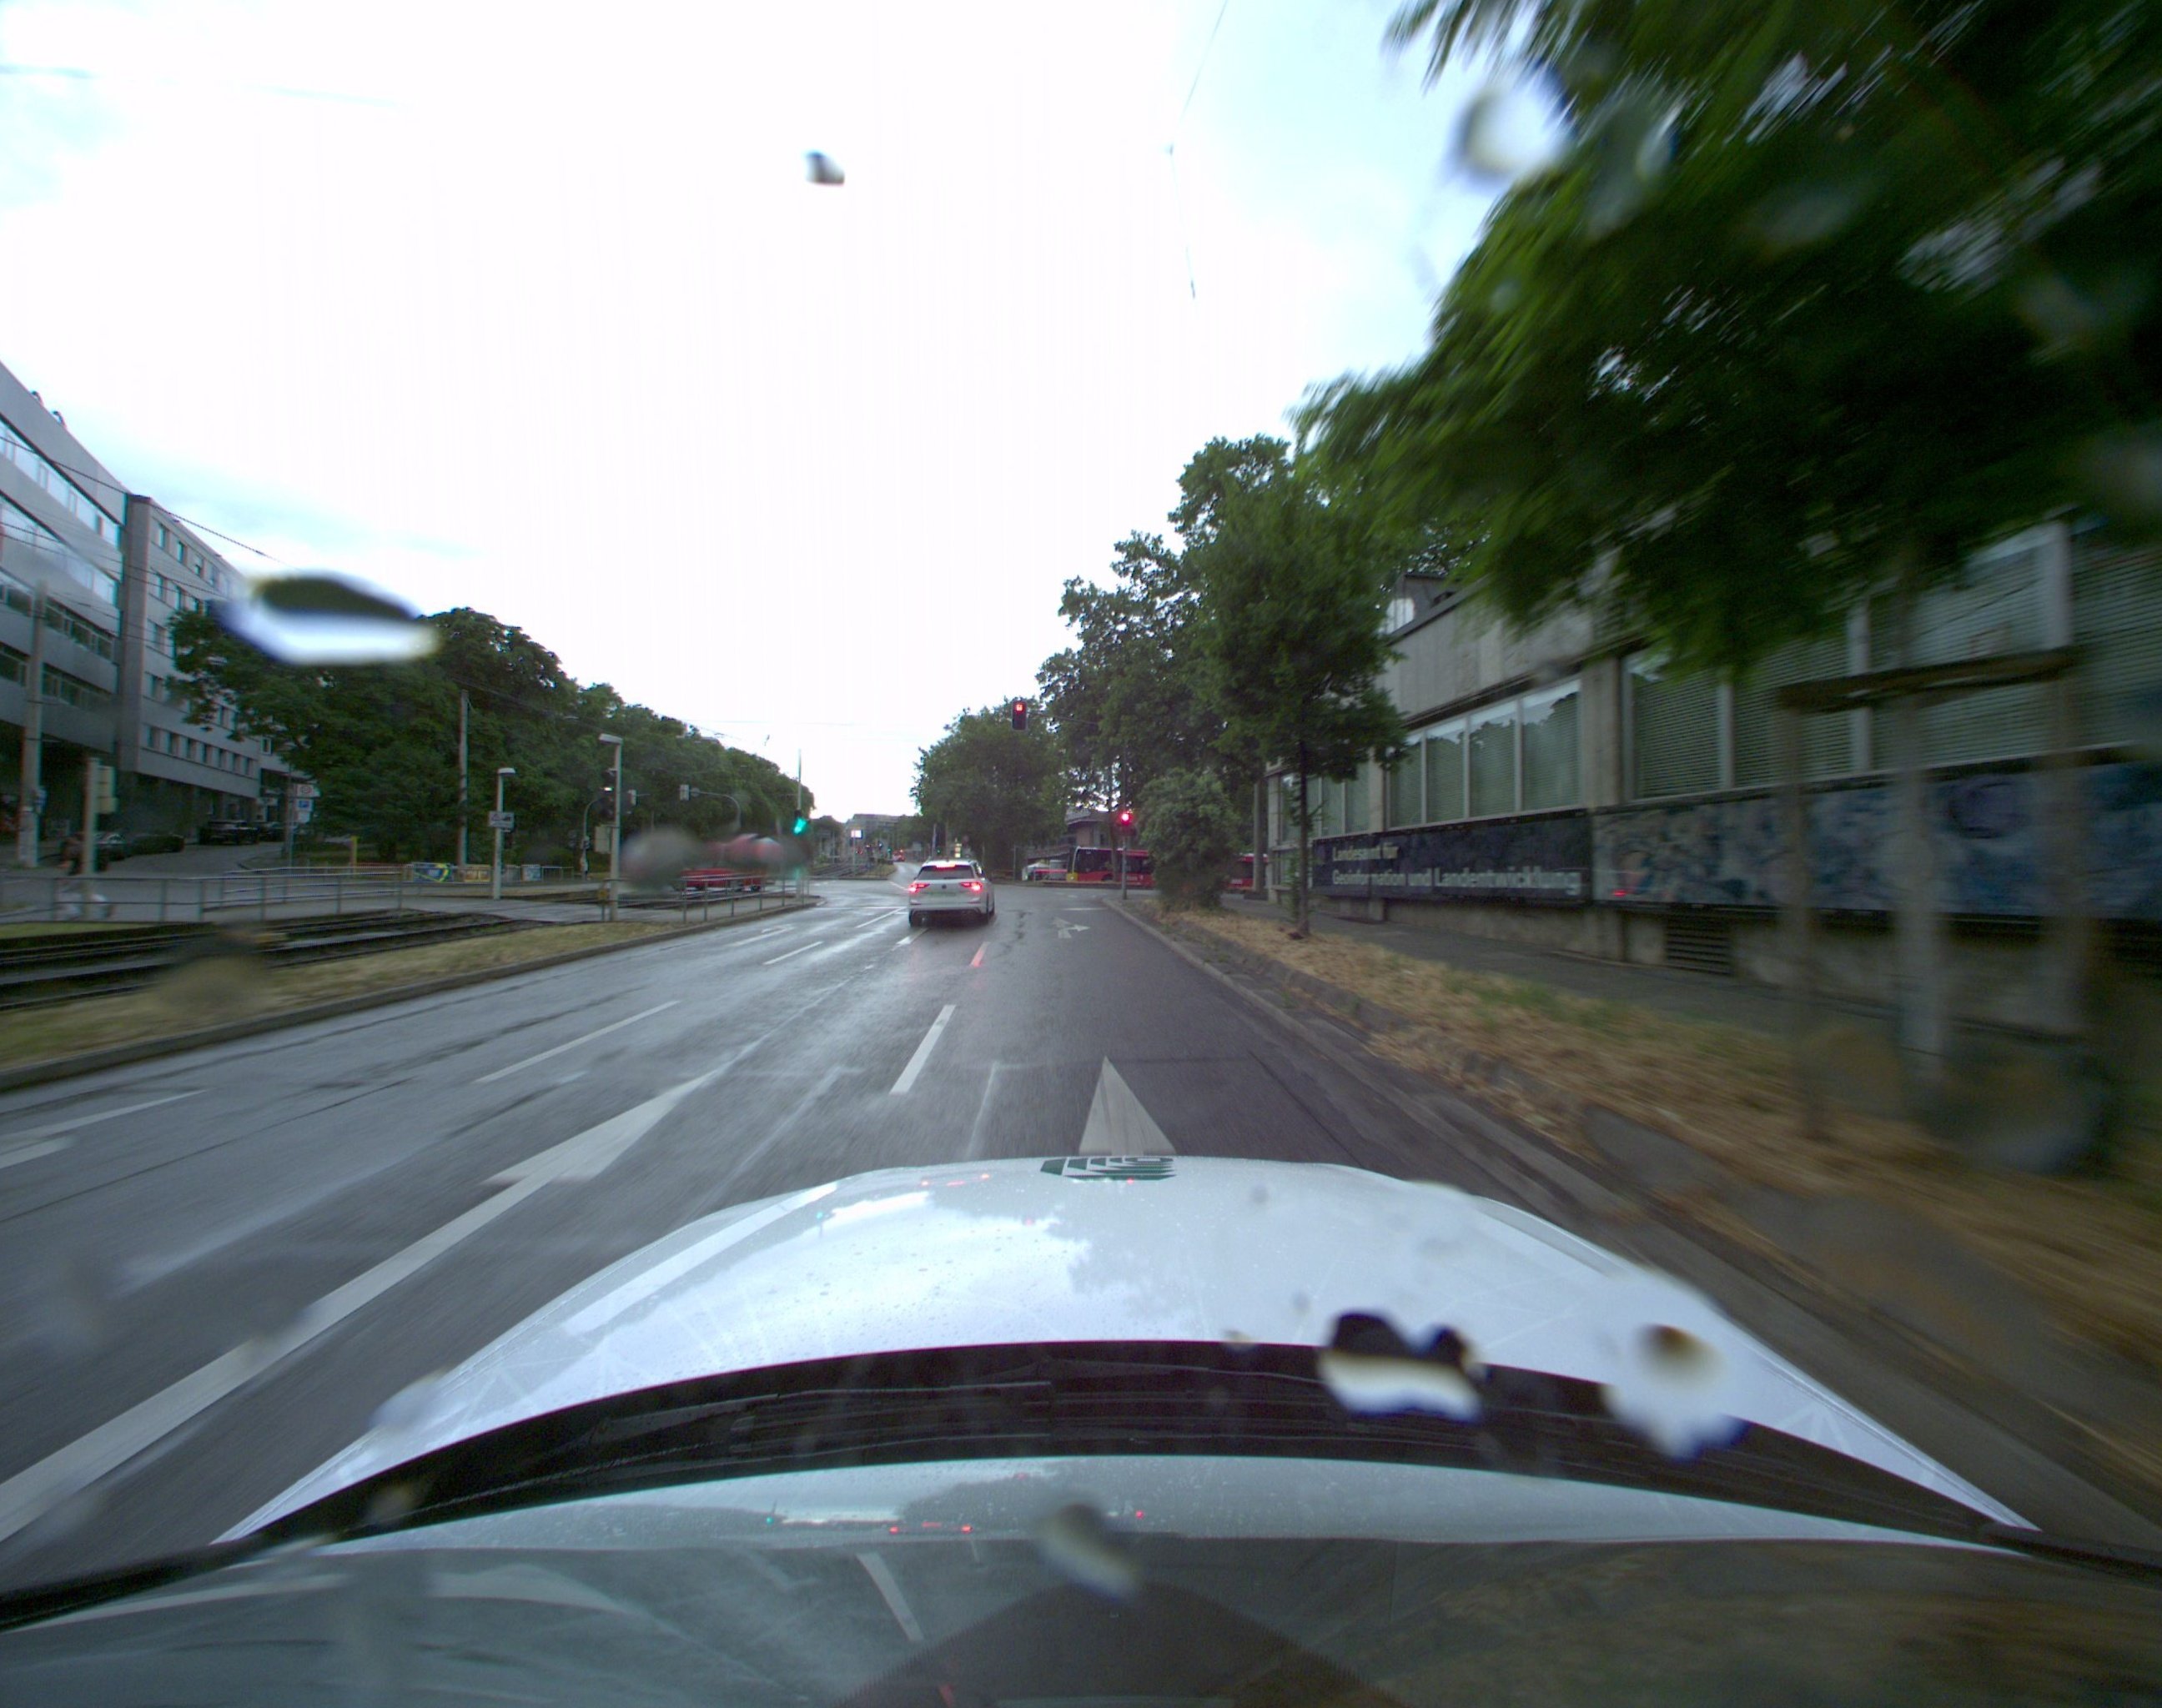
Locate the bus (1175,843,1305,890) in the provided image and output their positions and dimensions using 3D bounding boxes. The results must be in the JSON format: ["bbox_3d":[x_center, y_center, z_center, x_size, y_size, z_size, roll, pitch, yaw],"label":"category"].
[{"bbox_3d":[11.857,0.970,60.982,9.151,3.111,2.655,2,-1,-9],"label":"bus"}]

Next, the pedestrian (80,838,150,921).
[{"bbox_3d":[-21.488,0.564,18.137,0.642,1.788,0.804,3,-2,-26],"label":"pedestrian"}]

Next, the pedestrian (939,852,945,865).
[{"bbox_3d":[-20.269,0.608,118.618,0.757,1.823,0.697,3,-2,-16],"label":"pedestrian"}]

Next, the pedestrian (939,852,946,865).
[{"bbox_3d":[-20.421,0.634,120.126,0.757,1.823,0.697,3,-2,-16],"label":"pedestrian"}]

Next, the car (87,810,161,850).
[{"bbox_3d":[-50.159,-1.287,42.768,2.011,1.793,3.953,3,1,-43],"label":"car"}]

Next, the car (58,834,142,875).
[{"bbox_3d":[-46.737,0.019,38.893,2.011,1.794,3.952,3,-2,-43],"label":"car"}]

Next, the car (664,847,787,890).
[{"bbox_3d":[-15.300,0.641,35.149,4.375,1.640,1.992,2,-1,10],"label":"car"}]

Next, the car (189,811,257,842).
[{"bbox_3d":[-56.105,-1.755,53.346,2.007,1.794,4.167,3,-2,-32],"label":"car"}]

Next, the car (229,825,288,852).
[{"bbox_3d":[-60.607,-1.090,60.097,2.006,1.794,4.169,3,-2,-31],"label":"car"}]

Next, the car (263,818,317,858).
[{"bbox_3d":[-63.210,-1.209,65.129,2.006,2.998,4.169,3,-2,-31],"label":"car"}]

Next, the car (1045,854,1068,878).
[{"bbox_3d":[-3.329,1.647,109.880,2.543,3.134,5.017,2,-1,-8],"label":"car"}]

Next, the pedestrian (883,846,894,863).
[{"bbox_3d":[-19.145,0.086,80.932,0.735,1.640,0.871,2,-2,1],"label":"pedestrian"}]

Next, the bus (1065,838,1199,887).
[{"bbox_3d":[3.688,0.633,59.655,9.421,3.111,2.551,2,-1,-9],"label":"bus"}]

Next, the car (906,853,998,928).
[{"bbox_3d":[-2.931,0.759,19.274,1.675,1.576,4.249,0,0,-3],"label":"car"}]

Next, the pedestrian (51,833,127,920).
[{"bbox_3d":[-20.801,0.470,17.094,0.642,1.788,0.804,3,-2,-26],"label":"pedestrian"}]
